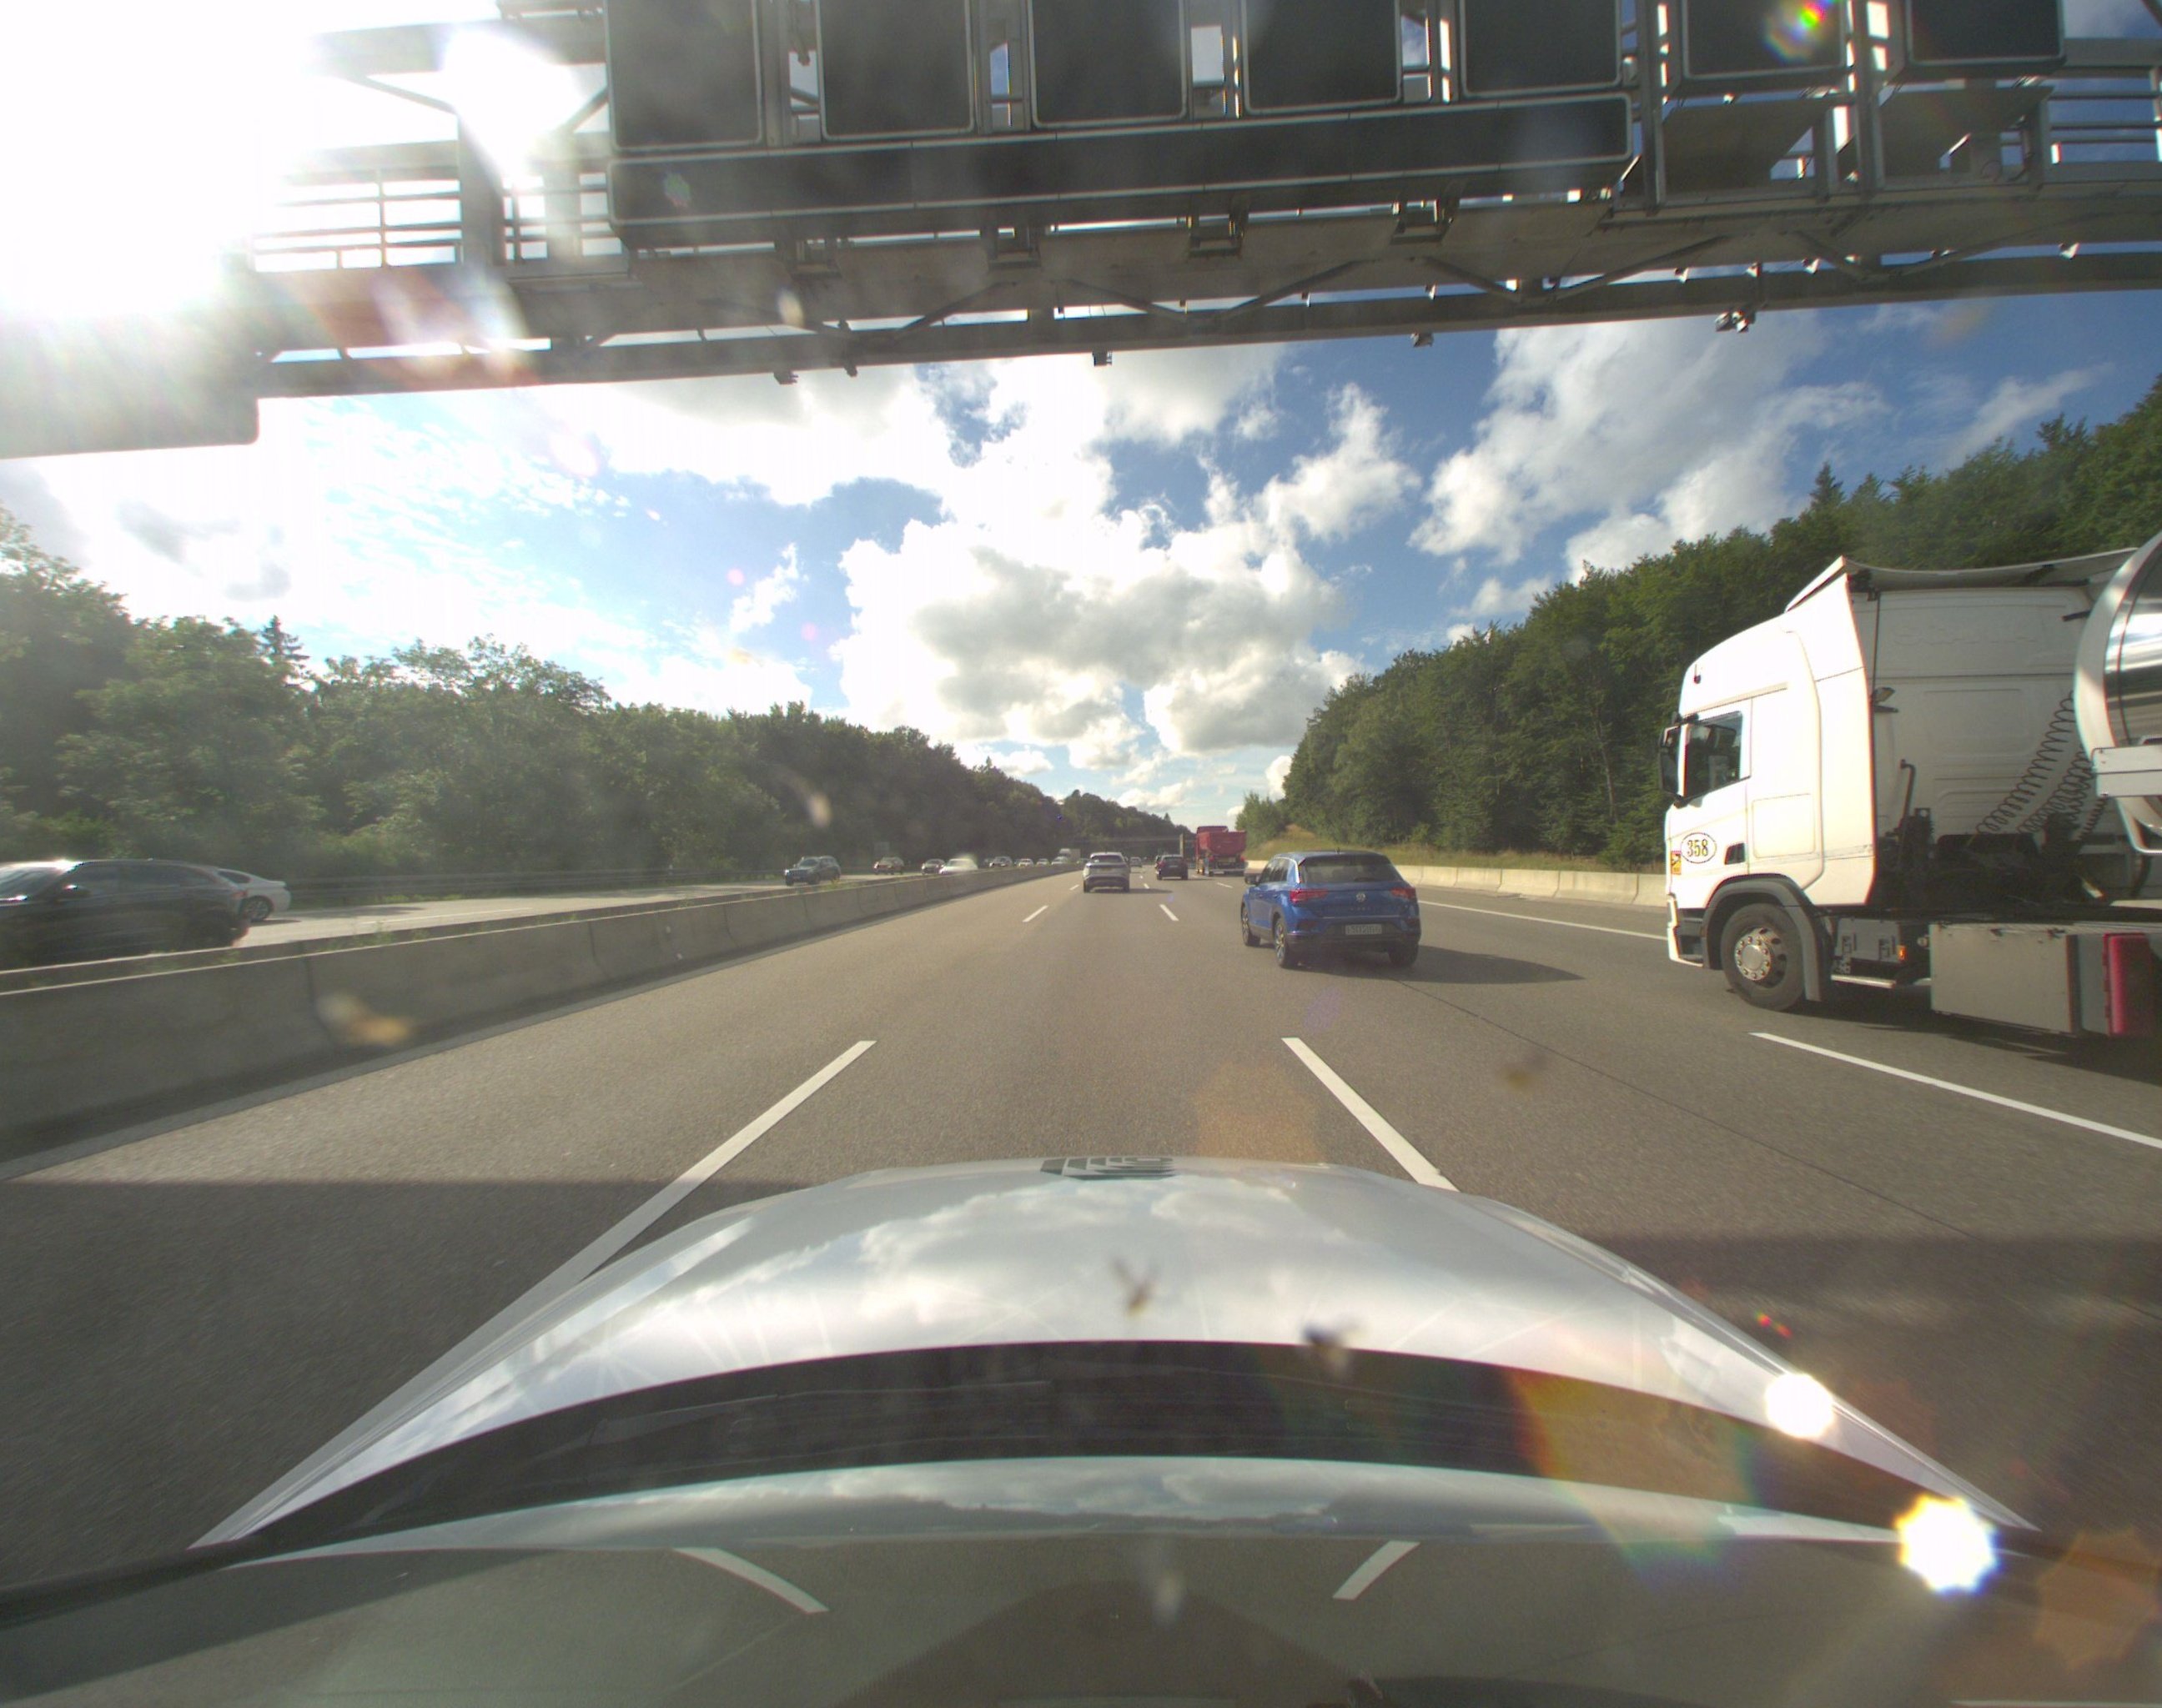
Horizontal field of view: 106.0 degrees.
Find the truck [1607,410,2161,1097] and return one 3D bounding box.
[{"bbox_3d":[7.381,-0.584,6.349,2.639,3.823,6.083,-2,0,1],"label":"truck"}]

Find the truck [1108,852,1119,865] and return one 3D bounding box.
[{"bbox_3d":[10.016,1.256,248.419,2.762,3.810,7.148,-1,0,7],"label":"truck"}]

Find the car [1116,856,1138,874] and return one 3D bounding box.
[{"bbox_3d":[4.247,0.993,74.461,1.813,1.546,4.006,0,0,5],"label":"car"}]

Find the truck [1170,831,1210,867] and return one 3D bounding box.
[{"bbox_3d":[12.517,-0.571,94.726,3.109,3.935,10.407,-1,0,-1],"label":"truck"}]

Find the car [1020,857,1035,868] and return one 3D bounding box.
[{"bbox_3d":[-9.455,1.430,144.826,1.984,1.837,4.736,-1,0,5],"label":"car"}]

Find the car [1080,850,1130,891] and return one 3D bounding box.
[{"bbox_3d":[1.093,0.659,35.326,1.998,1.616,5.304,-1,0,3],"label":"car"}]

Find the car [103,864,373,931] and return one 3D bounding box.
[{"bbox_3d":[-22.789,1.096,22.417,1.808,1.545,5.138,-1,0,5],"label":"car"}]

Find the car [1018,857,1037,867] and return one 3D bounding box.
[{"bbox_3d":[-7.047,1.016,107.201,1.638,1.200,4.448,-1,0,6],"label":"car"}]

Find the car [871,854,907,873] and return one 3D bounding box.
[{"bbox_3d":[-18.287,0.869,77.882,1.918,1.716,4.430,-1,0,6],"label":"car"}]

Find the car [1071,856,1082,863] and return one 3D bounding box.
[{"bbox_3d":[-0.934,1.090,169.009,1.838,1.498,4.137,-1,0,7],"label":"car"}]

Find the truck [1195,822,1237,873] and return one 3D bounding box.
[{"bbox_3d":[10.331,-0.492,62.809,2.698,3.718,5.824,-1,0,4],"label":"truck"}]

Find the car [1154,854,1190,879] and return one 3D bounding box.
[{"bbox_3d":[5.468,0.734,49.467,1.816,1.457,4.001,-1,0,1],"label":"car"}]

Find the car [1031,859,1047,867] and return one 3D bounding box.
[{"bbox_3d":[-7.483,1.580,145.341,2.062,1.473,4.677,-1,0,5],"label":"car"}]

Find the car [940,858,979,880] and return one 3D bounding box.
[{"bbox_3d":[-7.733,0.908,52.271,1.717,1.310,4.882,-1,0,1],"label":"car"}]

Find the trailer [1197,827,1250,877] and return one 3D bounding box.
[{"bbox_3d":[9.992,-0.161,58.076,2.698,3.231,9.743,-1,0,4],"label":"trailer"}]

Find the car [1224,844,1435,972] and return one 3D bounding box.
[{"bbox_3d":[3.425,0.655,12.157,1.767,1.530,4.456,-1,0,0],"label":"car"}]

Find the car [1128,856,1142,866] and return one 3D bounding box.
[{"bbox_3d":[7.733,0.983,117.207,1.813,1.457,4.007,-1,-1,6],"label":"car"}]

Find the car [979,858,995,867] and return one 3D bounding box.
[{"bbox_3d":[-13.406,1.200,116.078,1.486,1.212,3.276,-1,0,7],"label":"car"}]

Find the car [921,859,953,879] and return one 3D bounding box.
[{"bbox_3d":[-13.502,1.397,76.448,1.920,1.716,4.428,-1,0,4],"label":"car"}]

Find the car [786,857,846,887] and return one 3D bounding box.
[{"bbox_3d":[-15.546,1.024,48.016,1.658,1.640,4.486,-1,0,5],"label":"car"}]

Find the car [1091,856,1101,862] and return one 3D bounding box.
[{"bbox_3d":[3.476,1.184,187.585,1.838,1.498,4.137,0,0,7],"label":"car"}]

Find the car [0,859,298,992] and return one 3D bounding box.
[{"bbox_3d":[-14.297,0.920,11.677,1.692,1.630,4.500,-1,0,1],"label":"car"}]

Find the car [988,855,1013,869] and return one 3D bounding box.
[{"bbox_3d":[-8.941,0.831,90.602,1.712,1.479,4.640,-1,0,7],"label":"car"}]

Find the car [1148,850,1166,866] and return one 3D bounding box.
[{"bbox_3d":[9.136,0.514,97.750,1.886,1.856,4.102,-1,0,2],"label":"car"}]

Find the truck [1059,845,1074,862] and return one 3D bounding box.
[{"bbox_3d":[-3.392,-0.126,190.458,2.693,4.068,6.610,-1,0,6],"label":"truck"}]
